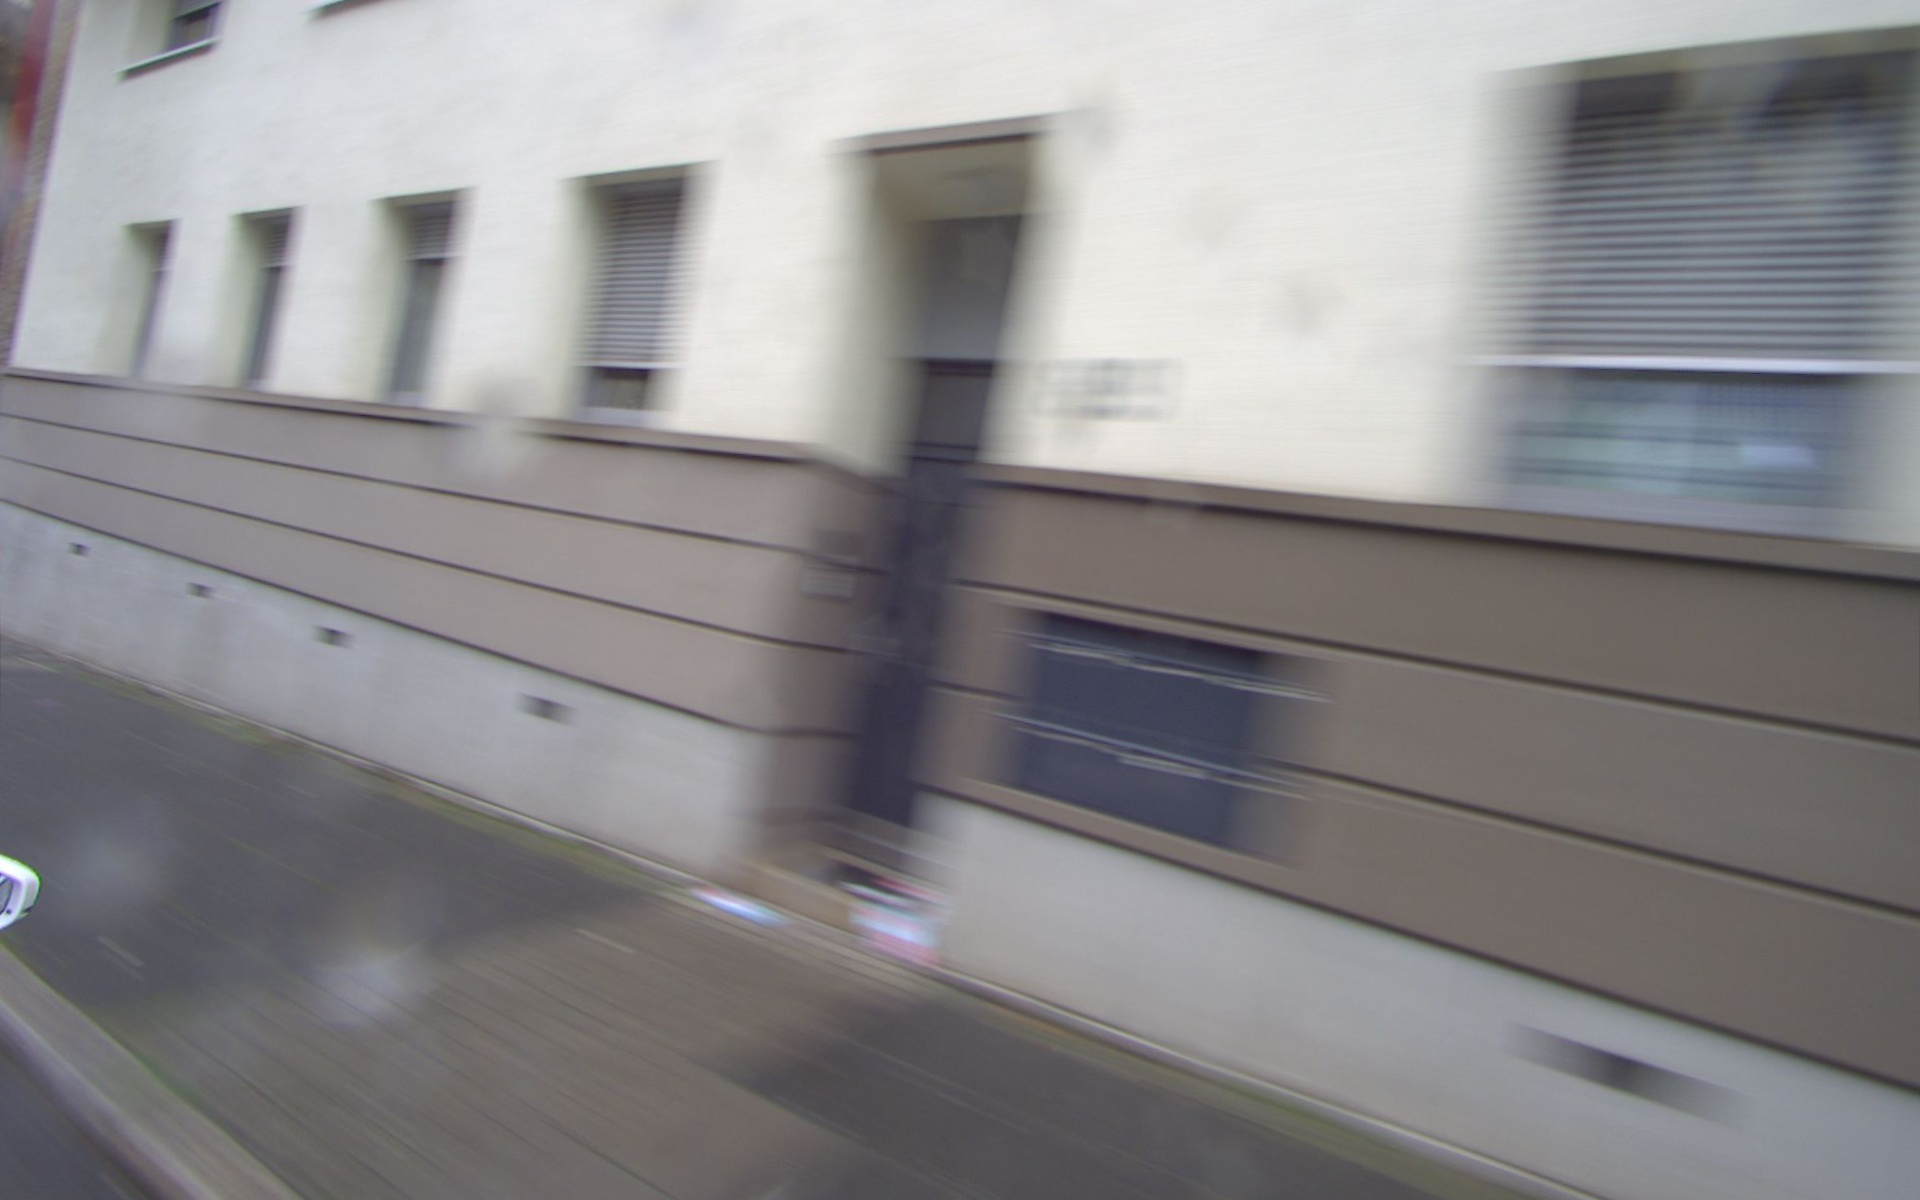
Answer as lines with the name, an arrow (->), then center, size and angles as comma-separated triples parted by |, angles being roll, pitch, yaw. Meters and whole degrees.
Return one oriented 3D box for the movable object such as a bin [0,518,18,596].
movable object such as a bin -> -13.184, -0.618, 13.552 | 0.468, 1.026, 0.502 | 8, -1, 29
